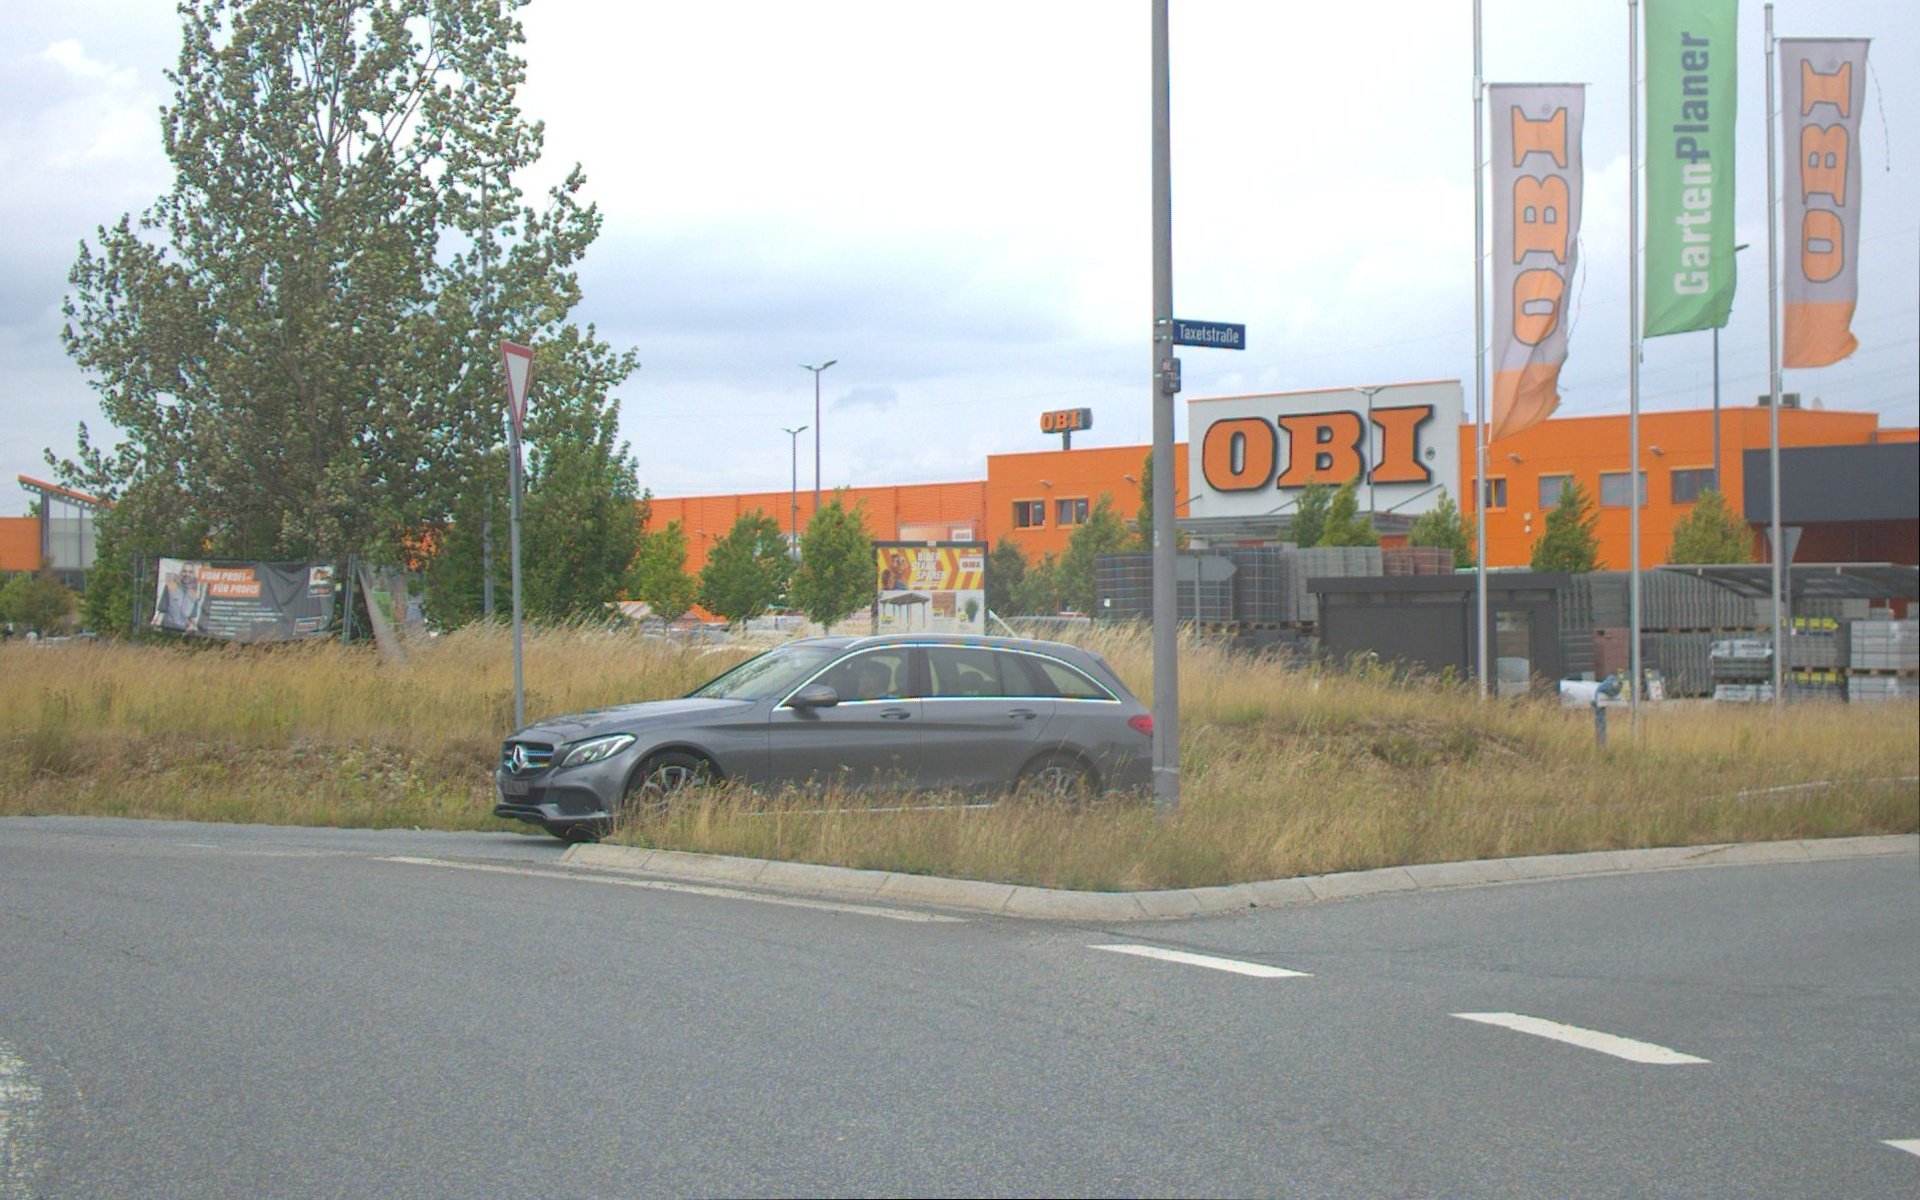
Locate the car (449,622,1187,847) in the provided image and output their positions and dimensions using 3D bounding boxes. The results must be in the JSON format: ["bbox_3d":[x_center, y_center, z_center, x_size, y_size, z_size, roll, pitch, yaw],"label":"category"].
[{"bbox_3d":[-0.942,0.906,23.610,4.672,1.399,1.929,2,-1,-29],"label":"car"}]

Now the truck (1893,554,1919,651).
[{"bbox_3d":[27.044,0.021,88.118,2.433,2.476,5.547,2,-3,-44],"label":"truck"}]

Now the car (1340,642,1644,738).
[{"bbox_3d":[8.483,1.431,55.191,1.739,1.399,4.756,2,-1,-43],"label":"car"}]
